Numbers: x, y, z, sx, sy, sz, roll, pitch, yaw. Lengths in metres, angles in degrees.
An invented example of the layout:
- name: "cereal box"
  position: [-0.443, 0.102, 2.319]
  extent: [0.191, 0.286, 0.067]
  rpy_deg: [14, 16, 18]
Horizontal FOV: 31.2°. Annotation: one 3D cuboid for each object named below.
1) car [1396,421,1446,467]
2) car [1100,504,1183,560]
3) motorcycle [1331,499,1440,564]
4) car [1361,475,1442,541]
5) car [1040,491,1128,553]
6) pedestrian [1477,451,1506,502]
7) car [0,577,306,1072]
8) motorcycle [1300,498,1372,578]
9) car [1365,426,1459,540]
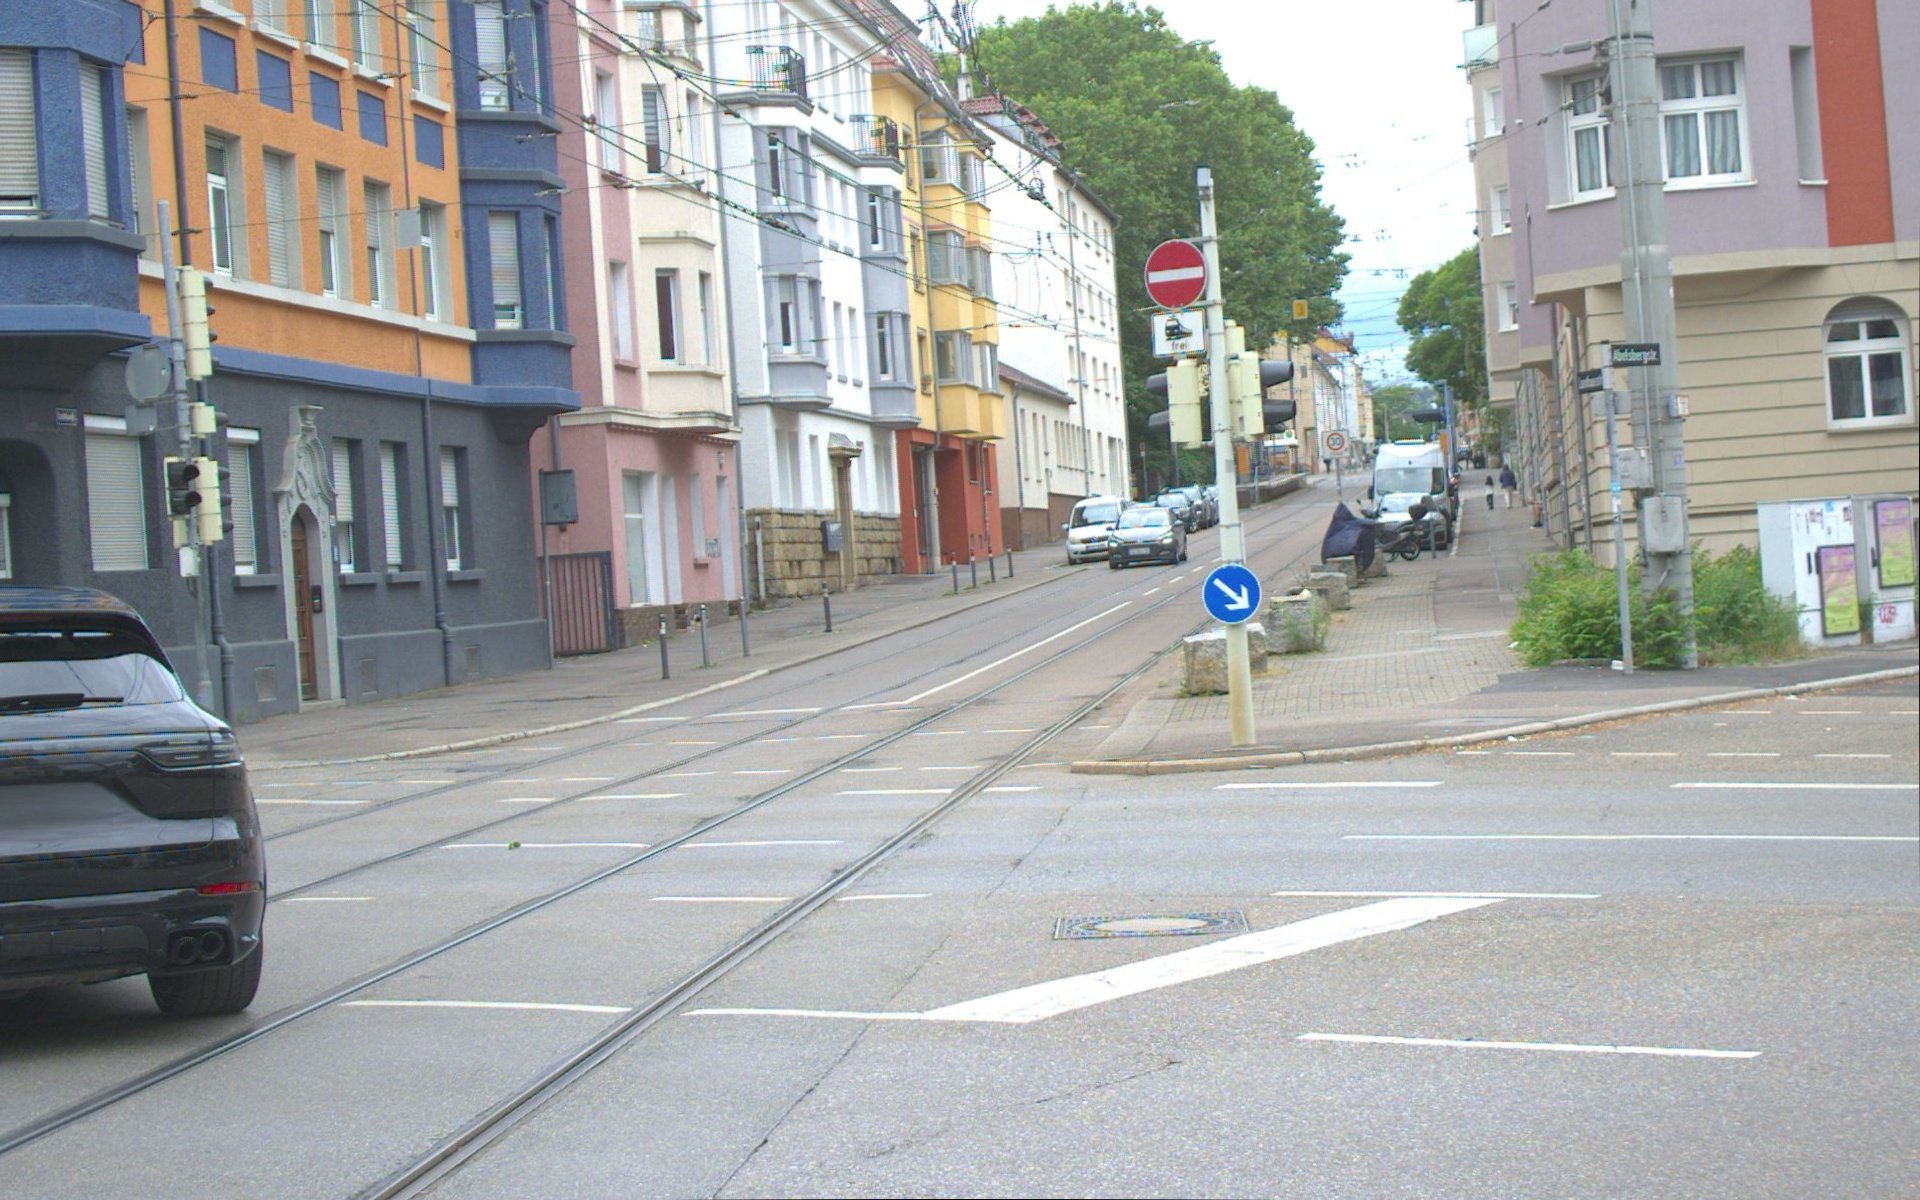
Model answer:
- name: "car"
  position: [23.124, -7.805, 172.373]
  extent: [2.268, 2.176, 4.767]
  rpy_deg: [-2, 1, 9]
- name: "car"
  position: [4.603, -1.727, 86.694]
  extent: [1.686, 1.322, 3.661]
  rpy_deg: [-2, 1, 9]
- name: "motorcycle"
  position: [9.049, -1.460, 73.135]
  extent: [2.176, 1.322, 0.699]
  rpy_deg: [-2, 1, -1]
- name: "car"
  position: [11.024, -2.298, 85.729]
  extent: [1.841, 1.563, 3.818]
  rpy_deg: [-2, 1, 9]
- name: "car"
  position: [3.585, -2.243, 98.679]
  extent: [1.994, 1.686, 3.999]
  rpy_deg: [-2, 1, 9]
- name: "pedestrian"
  position: [17.594, -4.089, 113.731]
  extent: [0.681, 1.626, 0.672]
  rpy_deg: [-3, -2, 36]
- name: "car"
  position: [-4.125, 0.771, 13.455]
  extent: [2.023, 1.636, 4.356]
  rpy_deg: [-1, 0, -25]
- name: "motorcycle"
  position: [6.824, -1.129, 62.558]
  extent: [0.860, 1.322, 2.184]
  rpy_deg: [-9, 1, 0]
- name: "car"
  position: [12.045, -3.089, 91.437]
  extent: [2.268, 2.880, 4.767]
  rpy_deg: [-2, 1, 9]
